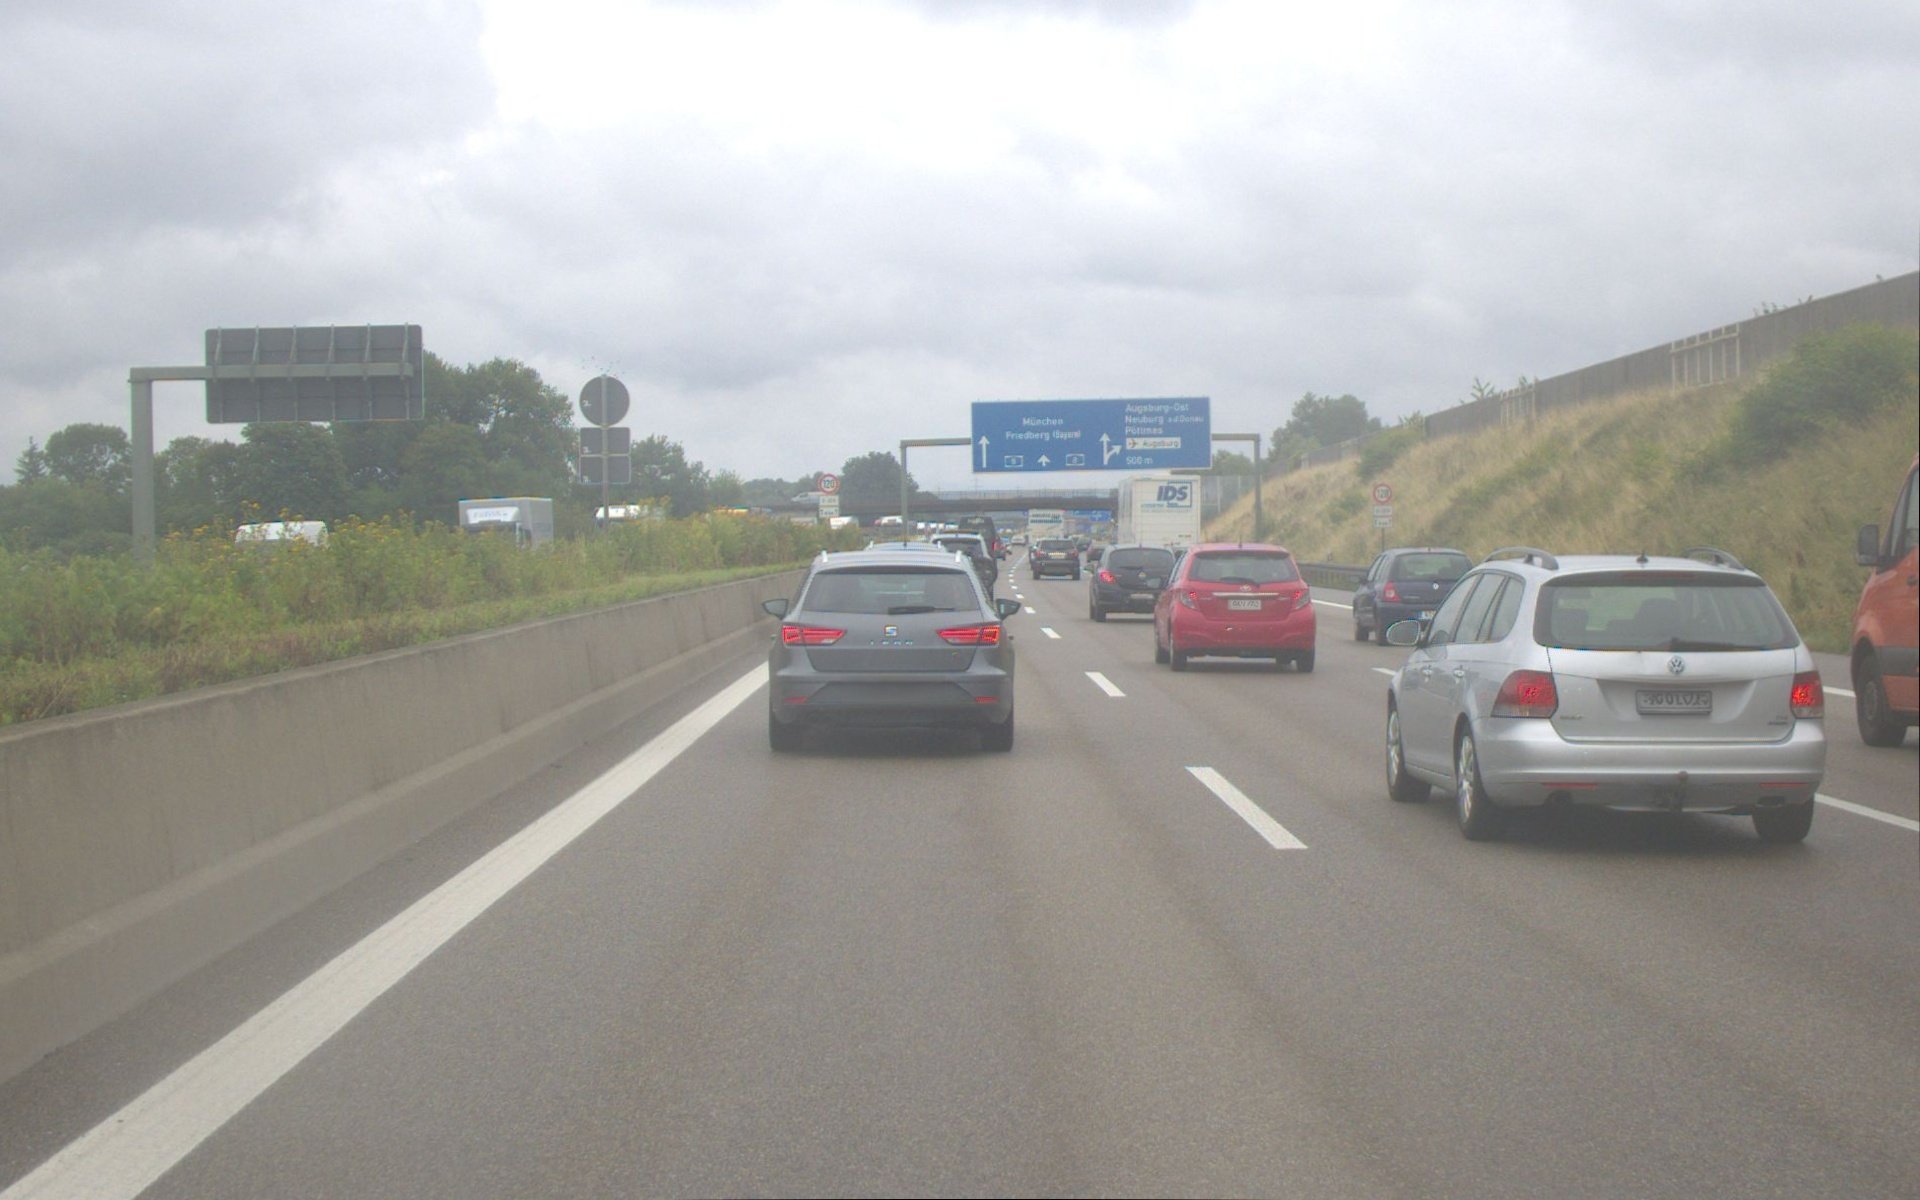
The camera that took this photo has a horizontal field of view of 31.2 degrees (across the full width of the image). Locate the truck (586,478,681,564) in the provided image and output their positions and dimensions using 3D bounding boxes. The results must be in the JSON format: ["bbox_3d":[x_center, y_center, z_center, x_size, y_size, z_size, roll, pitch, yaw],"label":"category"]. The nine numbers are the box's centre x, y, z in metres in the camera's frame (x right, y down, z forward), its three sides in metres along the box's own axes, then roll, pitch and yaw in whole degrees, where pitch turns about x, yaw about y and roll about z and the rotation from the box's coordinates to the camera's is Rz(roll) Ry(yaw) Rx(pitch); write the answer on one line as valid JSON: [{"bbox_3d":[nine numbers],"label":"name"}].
[{"bbox_3d":[-15.684,-3.750,166.019,3.184,3.953,10.810,1,1,2],"label":"truck"}]

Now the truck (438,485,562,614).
[{"bbox_3d":[-17.271,-1.899,129.806,3.225,4.633,9.674,1,1,1],"label":"truck"}]

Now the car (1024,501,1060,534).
[{"bbox_3d":[5.037,-5.073,212.258,1.993,2.007,4.000,-1,1,-2],"label":"car"}]

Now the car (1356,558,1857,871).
[{"bbox_3d":[3.298,0.509,18.392,1.742,1.420,4.517,-1,1,-1],"label":"car"}]

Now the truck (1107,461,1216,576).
[{"bbox_3d":[7.968,-3.160,138.416,3.283,4.280,19.033,1,1,0],"label":"truck"}]

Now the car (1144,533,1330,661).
[{"bbox_3d":[3.268,-0.080,41.372,1.891,1.442,4.685,0,1,0],"label":"car"}]

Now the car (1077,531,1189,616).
[{"bbox_3d":[3.217,-0.528,64.687,1.921,1.516,4.622,0,1,1],"label":"car"}]

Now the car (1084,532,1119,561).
[{"bbox_3d":[9.106,-3.442,221.548,1.993,1.853,4.391,0,1,-1],"label":"car"}]

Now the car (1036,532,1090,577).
[{"bbox_3d":[3.874,-1.718,129.829,1.845,1.681,4.000,1,1,-1],"label":"car"}]

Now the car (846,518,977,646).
[{"bbox_3d":[-0.660,-0.270,49.507,1.754,1.744,4.000,1,1,1],"label":"car"}]

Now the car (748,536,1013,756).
[{"bbox_3d":[-0.542,0.290,25.216,1.768,1.462,4.000,1,1,0],"label":"car"}]

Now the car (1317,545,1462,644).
[{"bbox_3d":[6.333,-0.103,50.990,1.702,1.396,3.875,1,1,1],"label":"car"}]

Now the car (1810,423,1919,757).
[{"bbox_3d":[7.670,-0.067,23.447,2.085,2.307,6.182,0,1,-1],"label":"car"}]

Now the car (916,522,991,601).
[{"bbox_3d":[-0.173,-0.941,82.489,1.704,1.790,3.855,-2,1,0],"label":"car"}]

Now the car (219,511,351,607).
[{"bbox_3d":[-18.556,-1.141,94.896,2.245,2.521,6.906,1,1,0],"label":"car"}]
